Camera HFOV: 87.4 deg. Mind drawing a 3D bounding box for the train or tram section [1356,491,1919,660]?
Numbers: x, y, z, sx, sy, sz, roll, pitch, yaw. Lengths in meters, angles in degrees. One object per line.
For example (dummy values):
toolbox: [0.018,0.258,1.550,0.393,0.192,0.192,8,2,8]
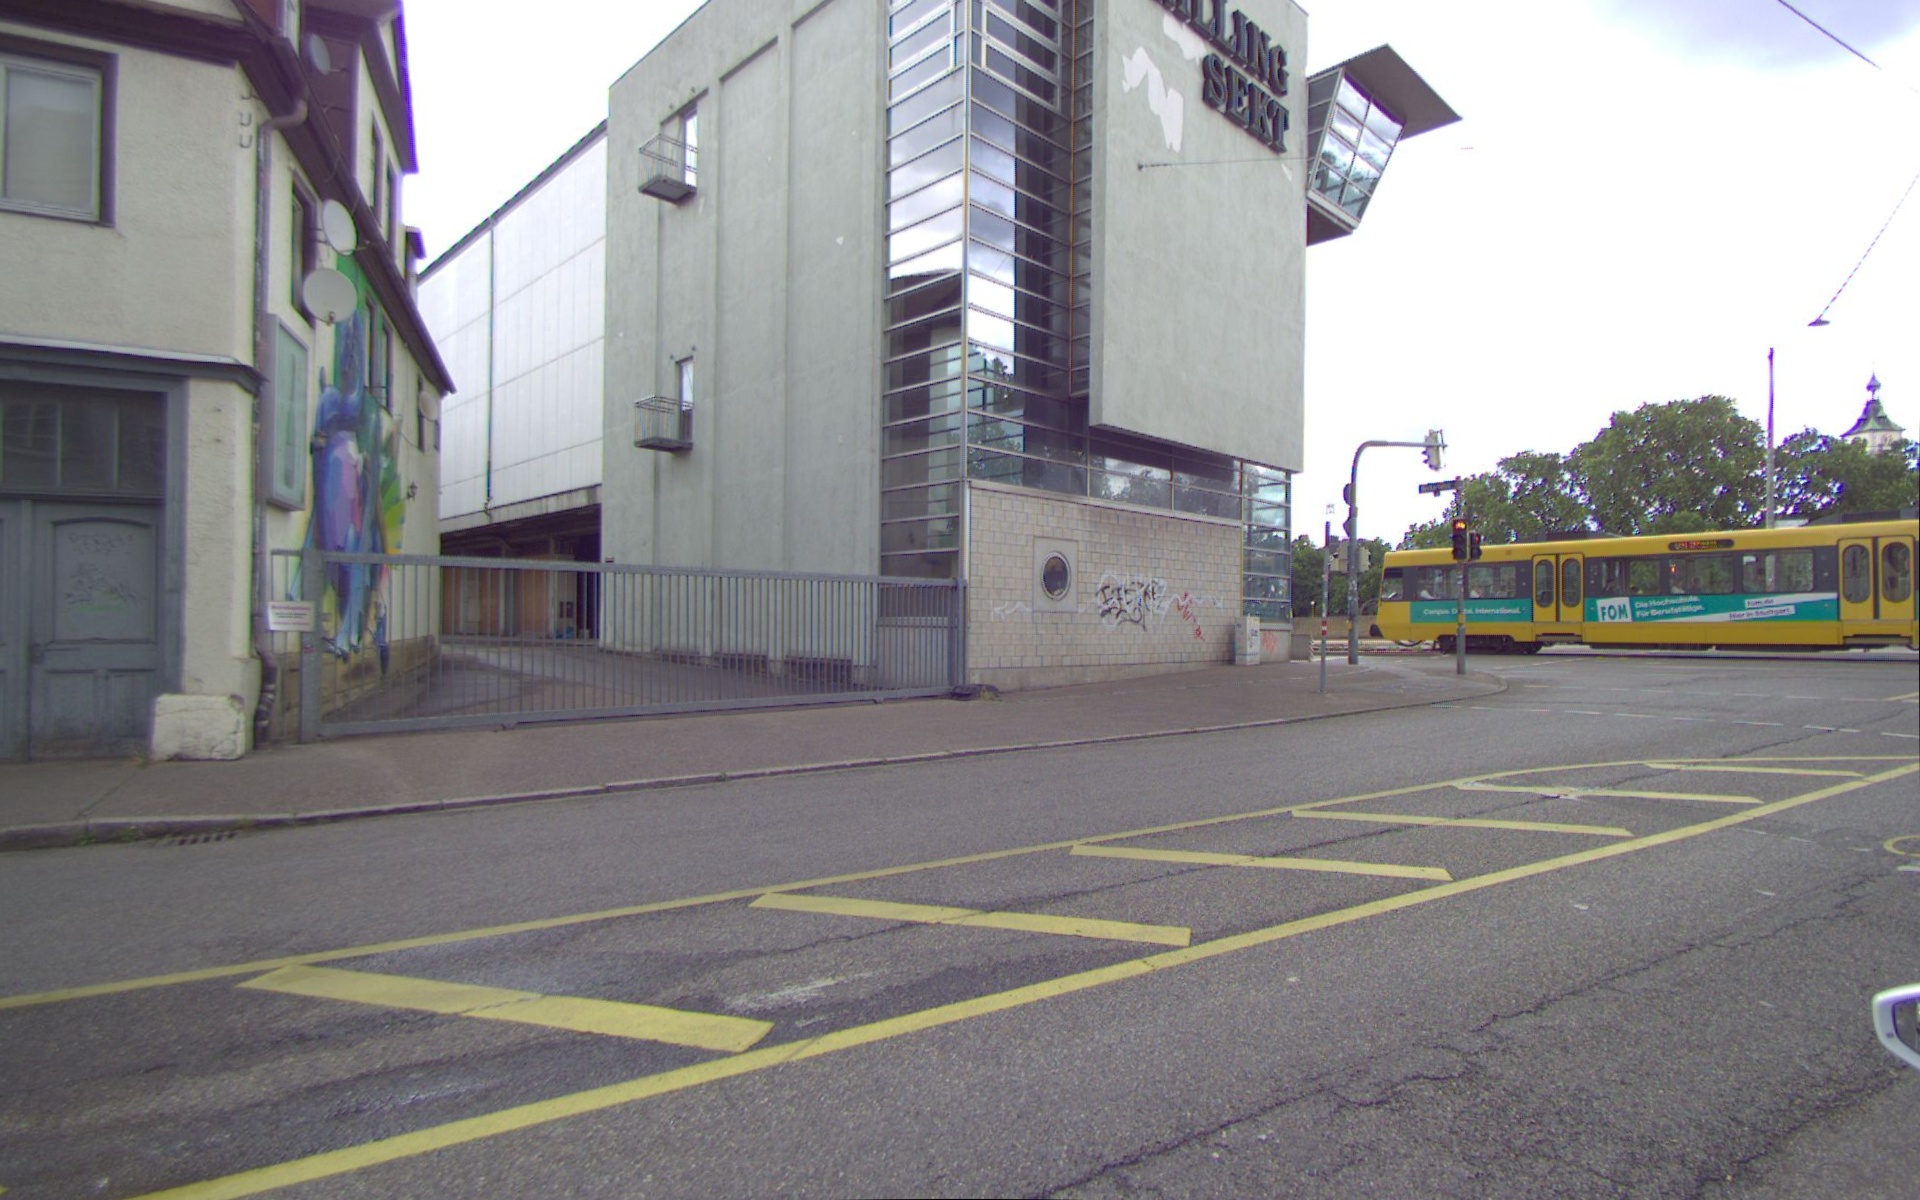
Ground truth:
train or tram section: [21.228,-0.474,28.806,3.282,4.056,19.067,-2,-1,-40]
